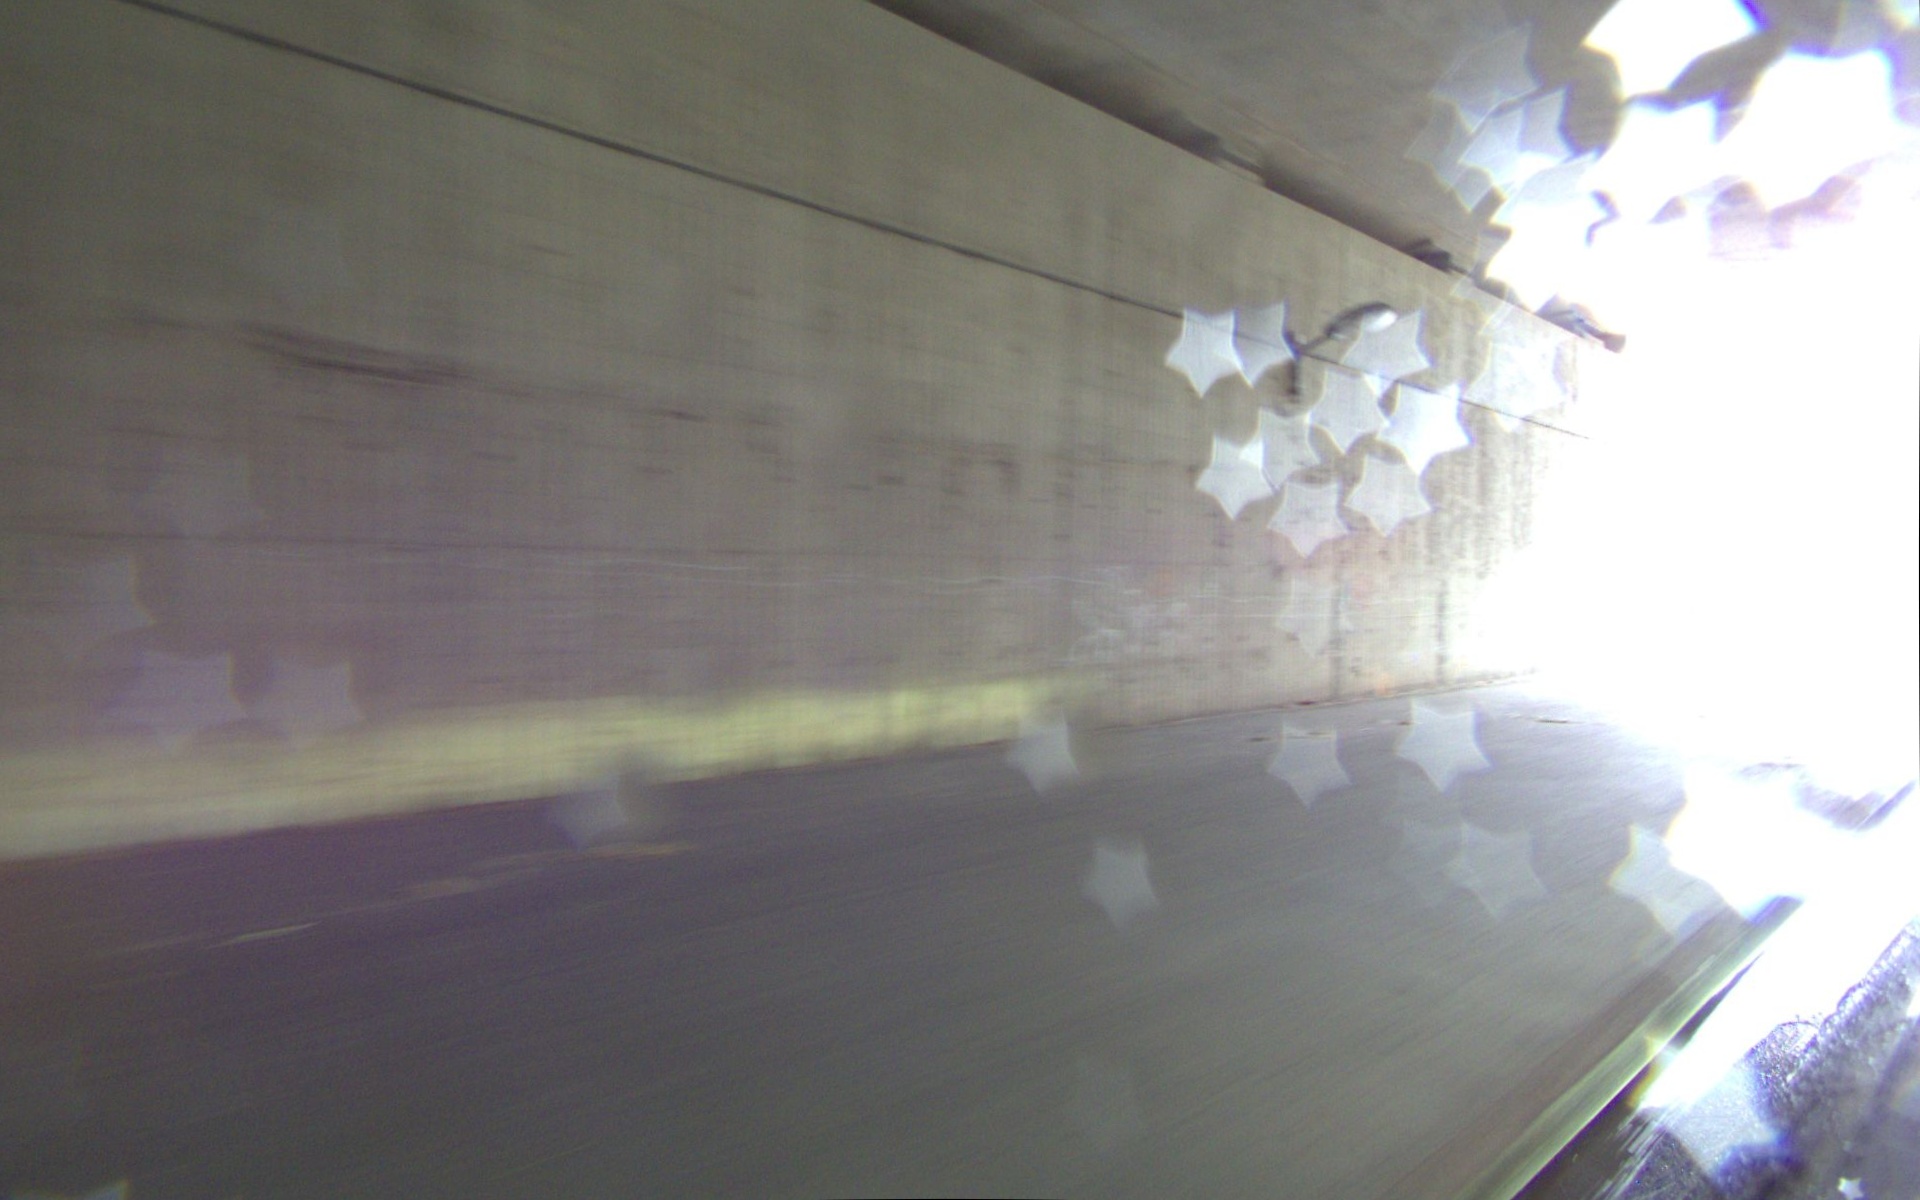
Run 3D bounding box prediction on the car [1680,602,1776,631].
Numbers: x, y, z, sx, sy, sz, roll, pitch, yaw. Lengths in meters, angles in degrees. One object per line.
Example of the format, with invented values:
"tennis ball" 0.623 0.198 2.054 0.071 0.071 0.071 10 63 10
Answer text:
"car" 42.219 0.907 55.698 3.801 1.551 1.711 0 0 15
